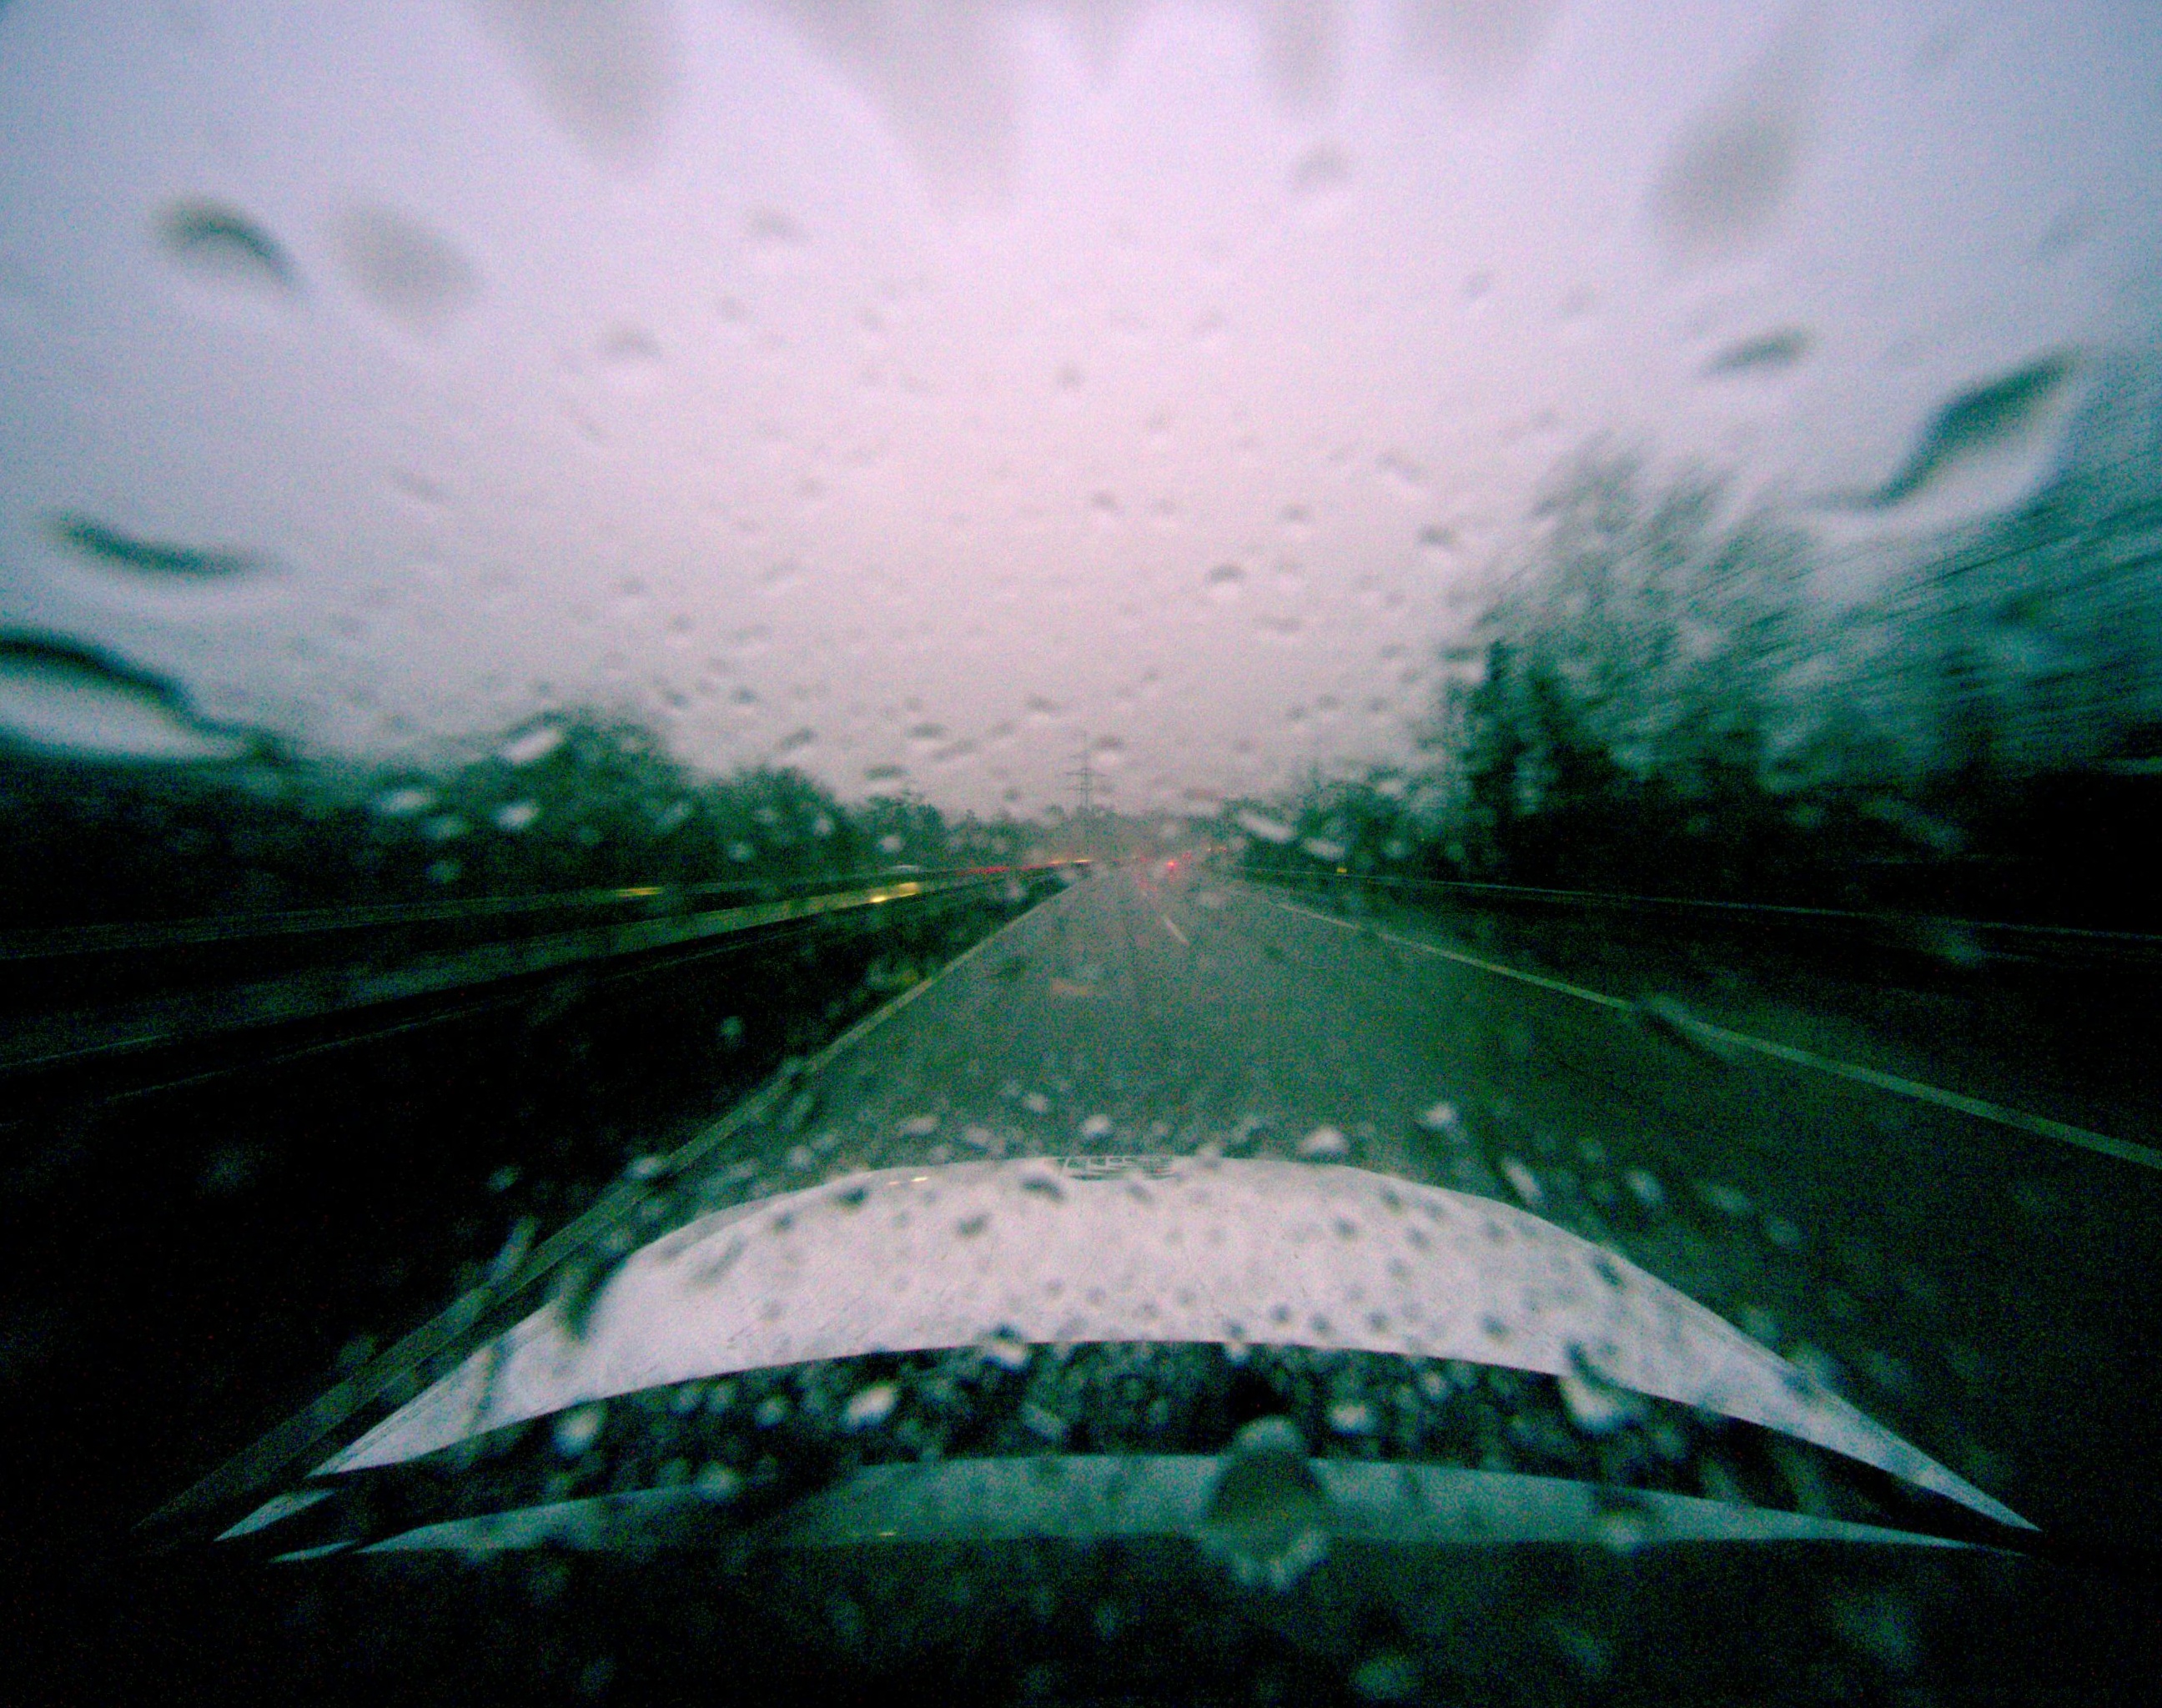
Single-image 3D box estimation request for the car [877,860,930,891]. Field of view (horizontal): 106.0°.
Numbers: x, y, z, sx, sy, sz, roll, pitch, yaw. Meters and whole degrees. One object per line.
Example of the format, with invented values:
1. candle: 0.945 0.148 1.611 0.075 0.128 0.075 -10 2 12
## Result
1. car: -9.533 1.128 44.079 1.710 1.423 4.002 7 0 2
